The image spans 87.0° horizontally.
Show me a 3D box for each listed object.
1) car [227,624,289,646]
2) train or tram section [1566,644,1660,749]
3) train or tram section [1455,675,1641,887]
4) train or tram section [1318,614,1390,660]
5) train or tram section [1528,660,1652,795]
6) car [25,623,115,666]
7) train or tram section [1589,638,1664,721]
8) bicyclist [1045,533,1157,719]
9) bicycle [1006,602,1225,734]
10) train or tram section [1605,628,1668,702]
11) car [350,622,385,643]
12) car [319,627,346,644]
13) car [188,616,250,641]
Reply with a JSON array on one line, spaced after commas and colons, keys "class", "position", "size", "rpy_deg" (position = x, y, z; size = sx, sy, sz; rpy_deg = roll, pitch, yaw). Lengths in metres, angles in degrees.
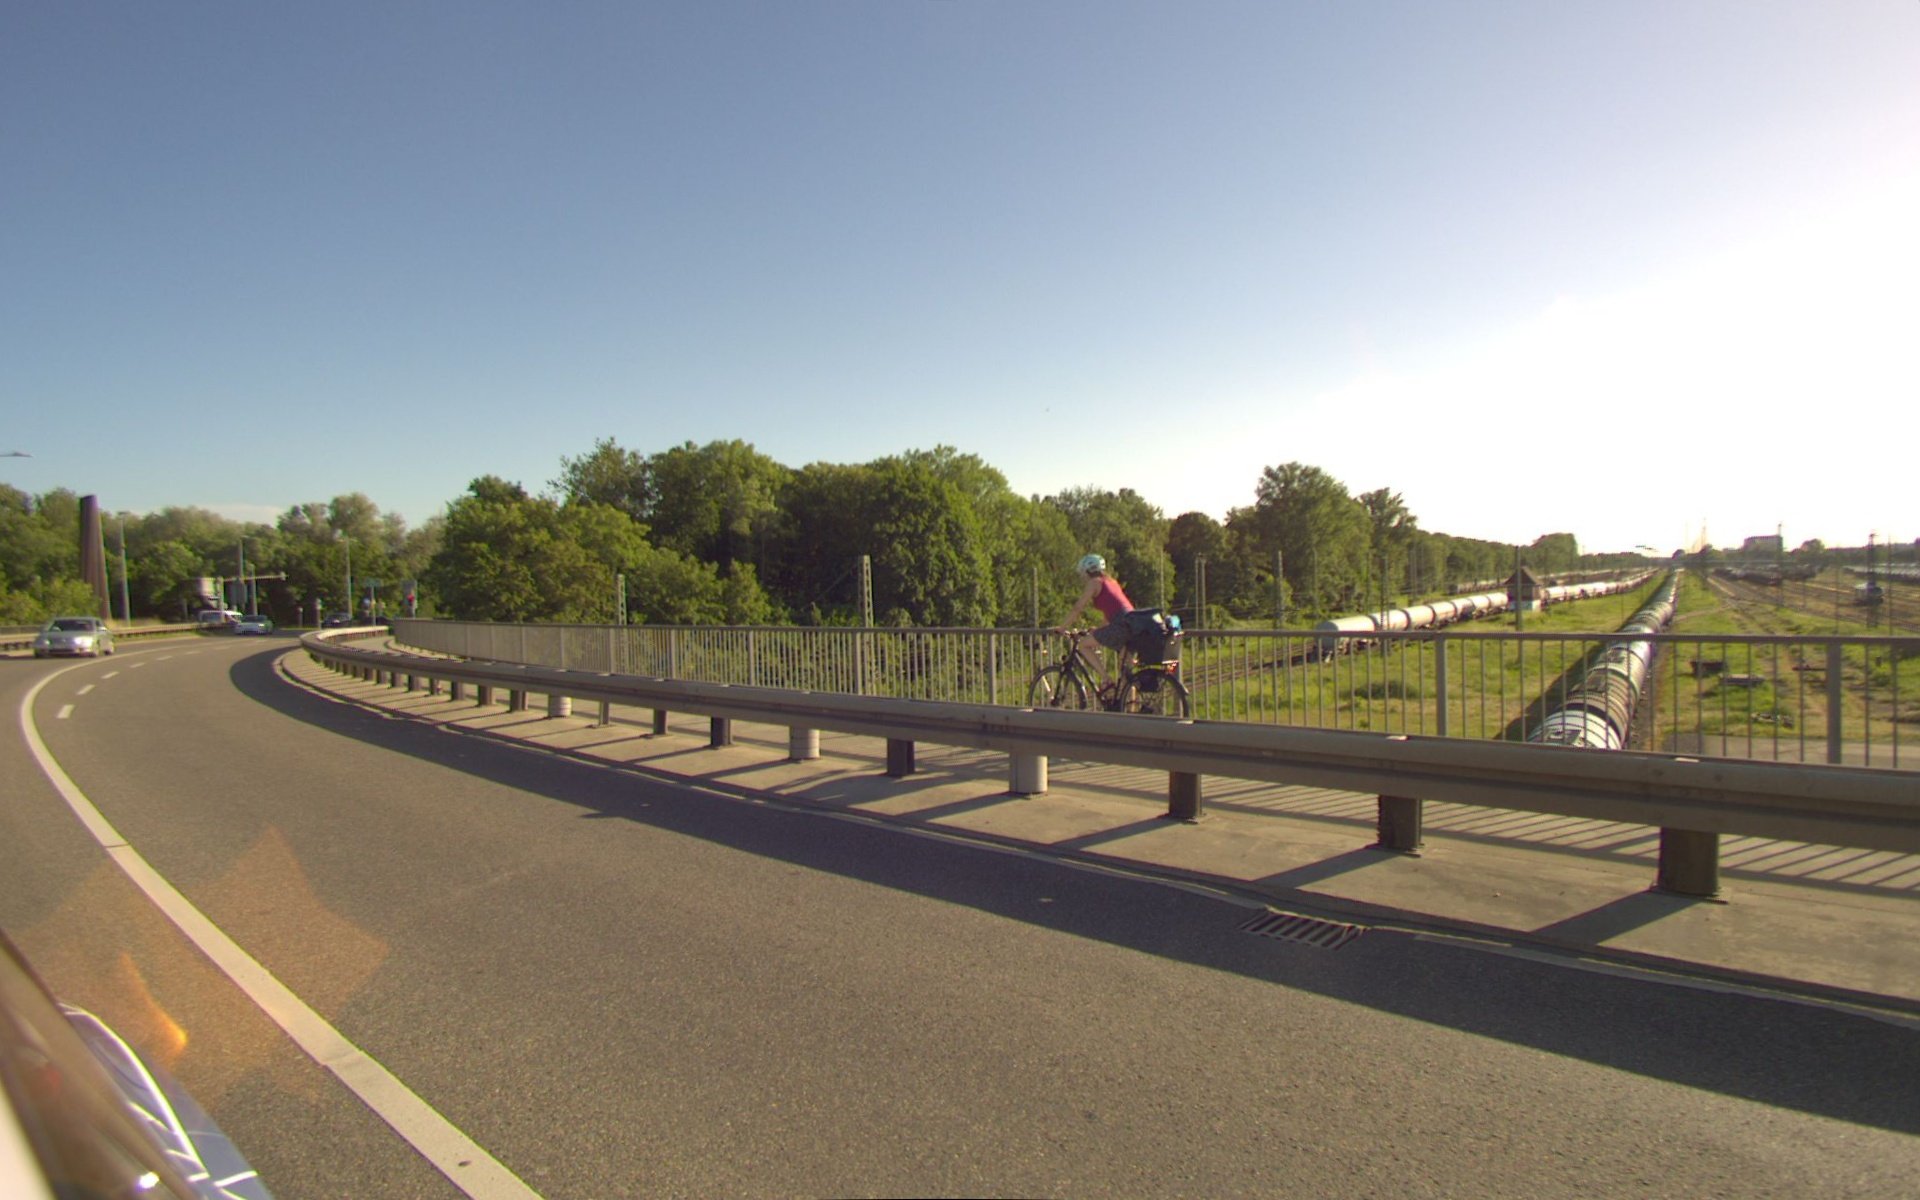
[{"class": "car", "position": [-51.575, 2.559, 74.458], "size": [1.964, 1.484, 4.134], "rpy_deg": [-1, -1, -5]}, {"class": "train or tram section", "position": [39.798, 5.430, 61.311], "size": [3.898, 5.054, 16.465], "rpy_deg": [-1, -1, 36]}, {"class": "train or tram section", "position": [20.726, 5.395, 34.782], "size": [3.898, 4.626, 16.565], "rpy_deg": [-1, -1, 36]}, {"class": "train or tram section", "position": [47.863, 4.314, 122.345], "size": [4.039, 5.125, 17.973], "rpy_deg": [-1, -1, 35]}, {"class": "train or tram section", "position": [30.252, 5.524, 48.071], "size": [3.898, 4.626, 16.114], "rpy_deg": [-1, -1, 36]}, {"class": "car", "position": [-32.350, 1.585, 36.894], "size": [1.735, 1.447, 4.342], "rpy_deg": [0, -1, -32]}, {"class": "train or tram section", "position": [49.317, 5.536, 74.546], "size": [3.898, 5.054, 16.168], "rpy_deg": [-1, -1, 36]}, {"class": "bicyclist", "position": [1.281, 0.231, 9.188], "size": [0.768, 1.601, 0.647], "rpy_deg": [-2, -1, 41]}, {"class": "bicycle", "position": [1.357, 0.572, 9.105], "size": [1.889, 1.073, 0.647], "rpy_deg": [-1, -1, 41]}, {"class": "train or tram section", "position": [58.803, 5.362, 87.760], "size": [3.898, 5.561, 16.305], "rpy_deg": [-1, -1, 36]}, {"class": "car", "position": [-44.124, 2.401, 75.431], "size": [1.847, 1.450, 4.335], "rpy_deg": [0, -1, -25]}, {"class": "car", "position": [-64.358, 3.600, 103.842], "size": [1.890, 1.630, 3.755], "rpy_deg": [0, -1, -24]}, {"class": "car", "position": [-81.746, 3.176, 111.732], "size": [5.639, 2.518, 2.110], "rpy_deg": [-3, -1, 8]}]
